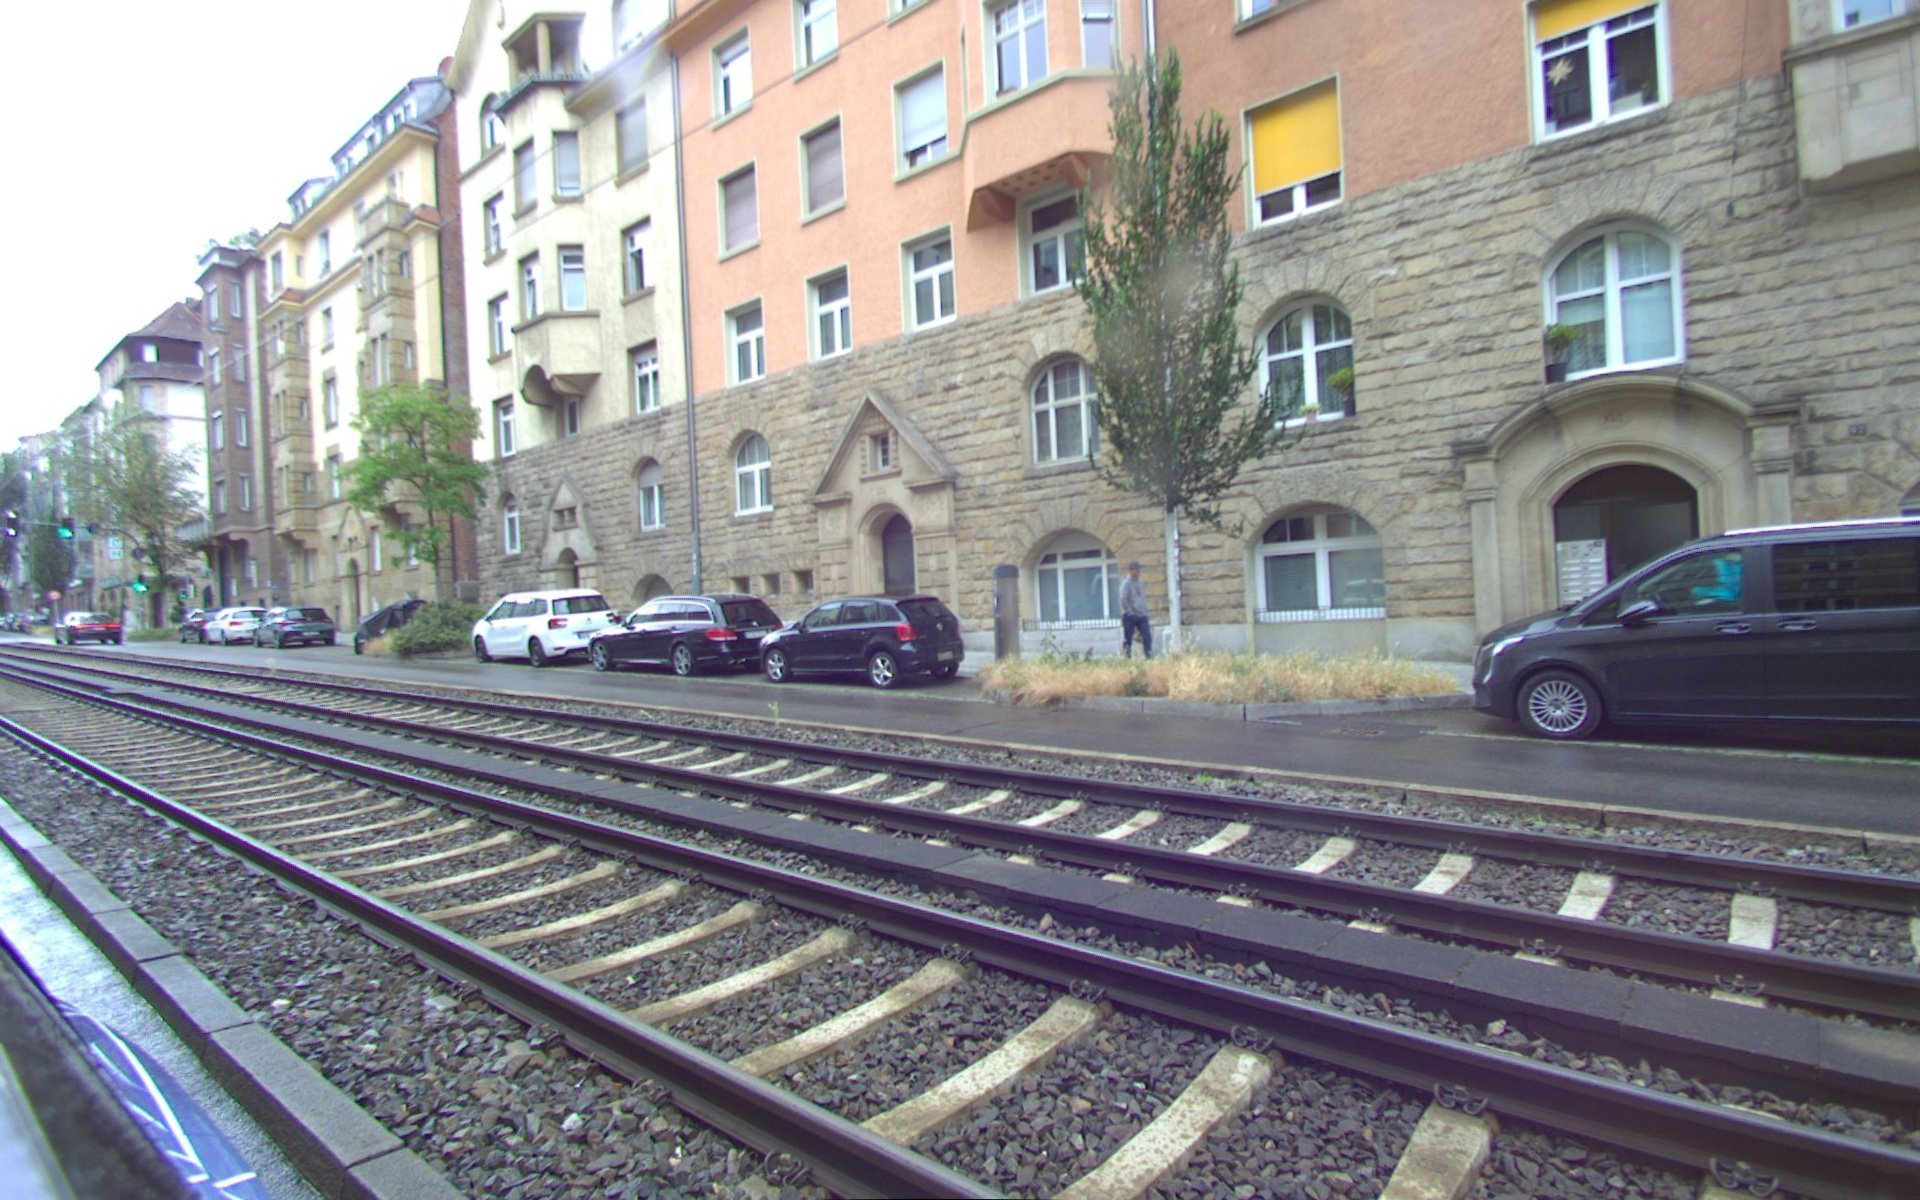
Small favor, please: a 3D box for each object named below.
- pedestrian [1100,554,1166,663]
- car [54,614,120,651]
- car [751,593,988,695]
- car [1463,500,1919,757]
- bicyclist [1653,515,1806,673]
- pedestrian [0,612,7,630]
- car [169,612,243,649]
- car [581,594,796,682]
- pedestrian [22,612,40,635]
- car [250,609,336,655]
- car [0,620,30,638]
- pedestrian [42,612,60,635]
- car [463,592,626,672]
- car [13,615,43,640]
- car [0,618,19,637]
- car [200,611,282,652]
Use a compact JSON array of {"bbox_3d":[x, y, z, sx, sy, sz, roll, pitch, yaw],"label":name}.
[{"bbox_3d":[2.717,0.130,15.921,0.765,1.654,0.692,-1,0,42],"label":"pedestrian"},{"bbox_3d":[-39.561,1.455,45.812,4.965,1.535,1.783,-1,0,44],"label":"car"},{"bbox_3d":[-1.552,0.674,16.916,3.638,1.508,1.912,-1,0,38],"label":"car"},{"bbox_3d":[7.350,0.220,8.982,4.823,1.956,1.973,-1,0,41],"label":"car"},{"bbox_3d":[8.356,-0.048,11.002,1.252,1.609,0.875,-2,-1,40],"label":"bicyclist"},{"bbox_3d":[-103.788,2.287,109.134,1.379,1.972,1.362,-1,0,43],"label":"pedestrian"},{"bbox_3d":[-32.138,1.272,43.087,3.843,1.452,1.748,-1,0,41],"label":"car"},{"bbox_3d":[-5.433,0.702,19.938,4.599,1.506,1.824,-1,0,41],"label":"car"},{"bbox_3d":[-82.568,2.098,89.984,1.163,1.972,1.042,-1,0,43],"label":"pedestrian"},{"bbox_3d":[-23.678,1.101,35.861,3.845,1.452,1.656,-1,1,43],"label":"car"},{"bbox_3d":[-74.283,2.288,79.342,3.843,1.321,1.563,-1,0,41],"label":"car"},{"bbox_3d":[-81.707,2.086,90.990,1.163,1.972,1.042,-1,0,43],"label":"pedestrian"},{"bbox_3d":[-9.740,0.707,23.611,4.144,1.668,1.843,-1,0,41],"label":"car"},{"bbox_3d":[-69.034,2.000,74.977,1.561,1.691,3.794,-2,2,-43],"label":"car"},{"bbox_3d":[-80.910,2.297,85.416,3.843,1.527,1.748,-1,0,41],"label":"car"},{"bbox_3d":[-28.280,1.217,39.764,4.030,1.452,1.748,-1,1,42],"label":"car"}]
